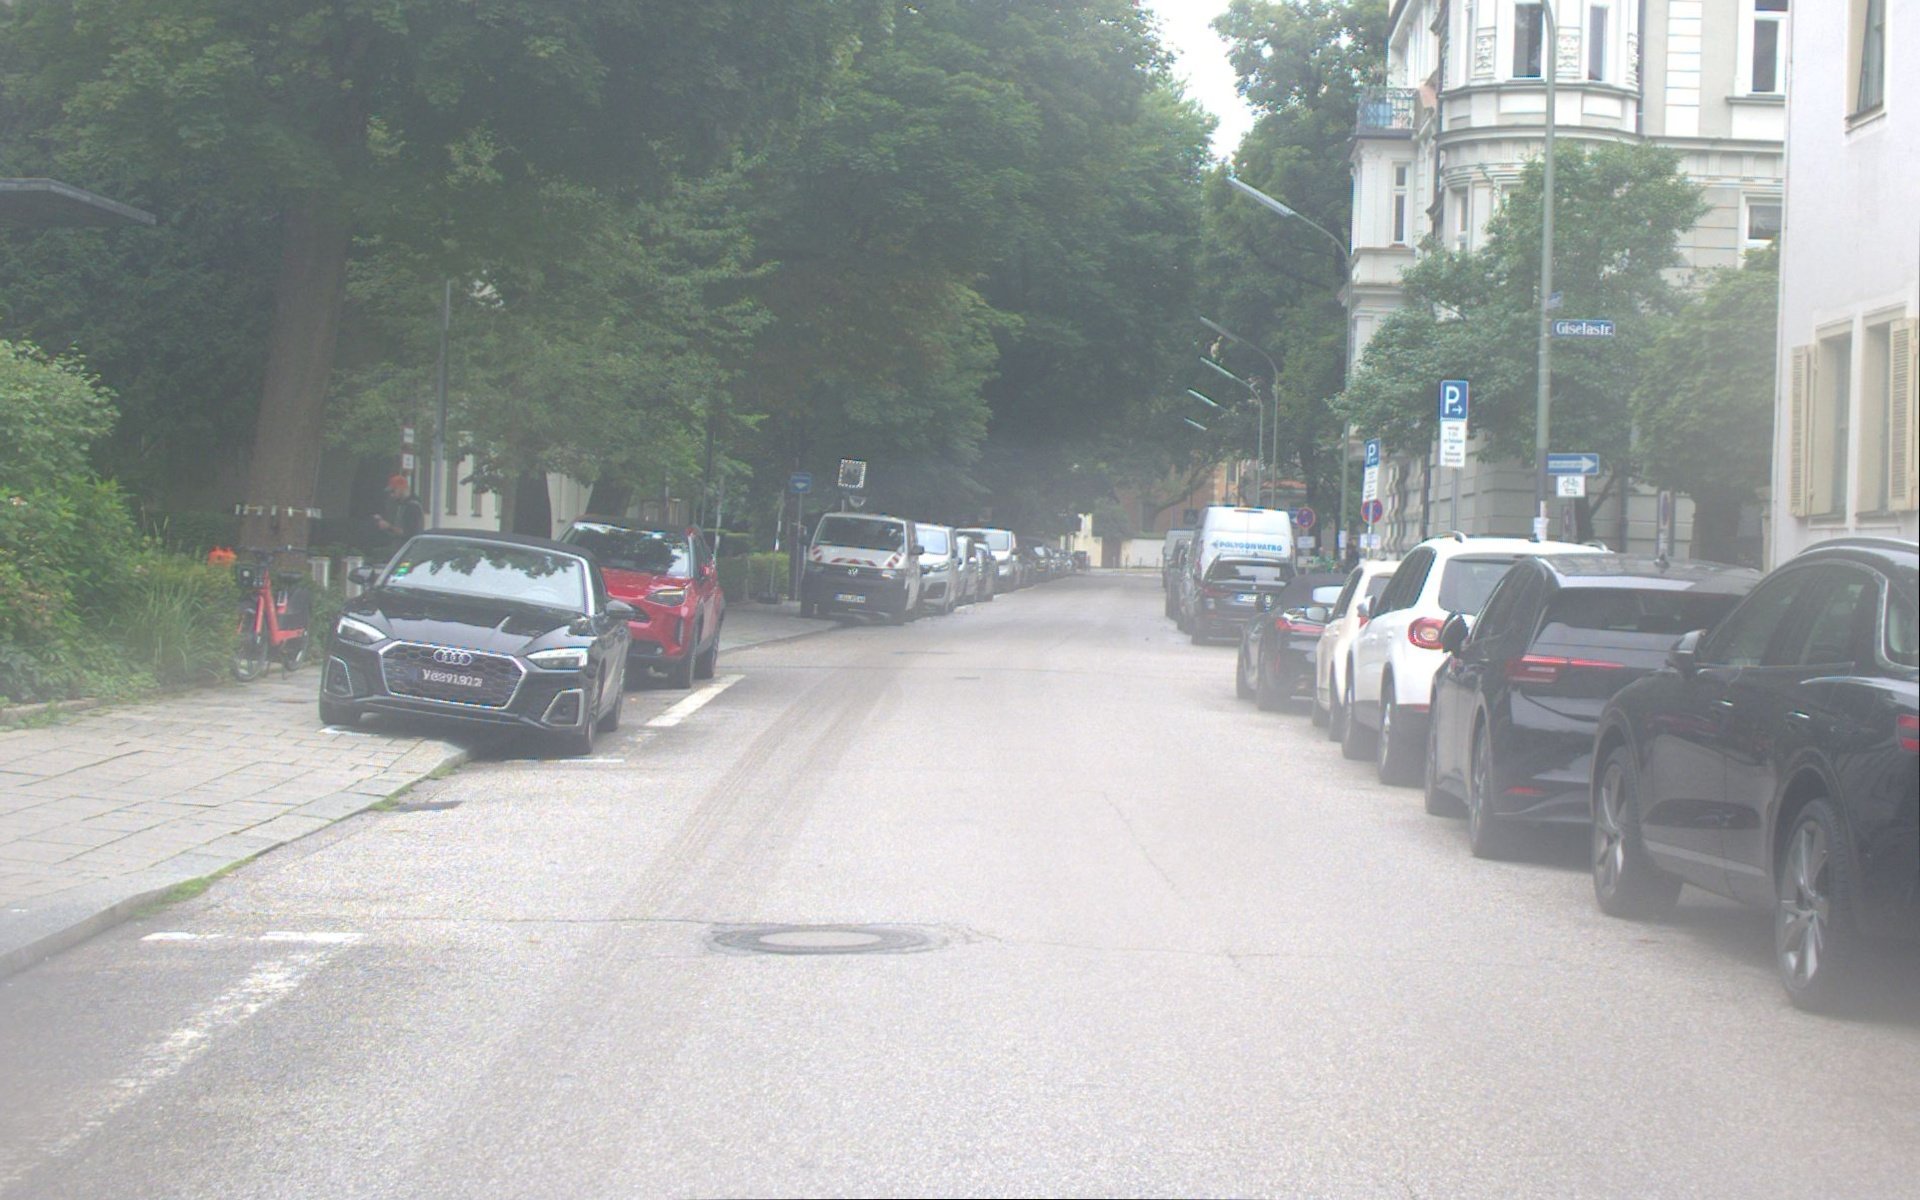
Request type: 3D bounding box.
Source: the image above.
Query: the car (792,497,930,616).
[{"bbox_3d":[-1.747,-0.802,62.574,2.247,1.950,5.454,3,1,0],"label":"car"}]

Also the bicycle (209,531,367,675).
[{"bbox_3d":[-5.531,0.010,28.395,0.649,1.126,2.047,2,1,7],"label":"bicycle"}]

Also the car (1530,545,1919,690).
[{"bbox_3d":[9.586,0.204,41.884,4.906,1.526,1.913,2,3,0],"label":"car"}]

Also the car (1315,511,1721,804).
[{"bbox_3d":[3.730,0.316,23.799,1.993,1.701,4.534,4,1,0],"label":"car"}]

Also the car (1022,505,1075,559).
[{"bbox_3d":[3.765,-2.888,147.116,2.047,2.147,4.314,3,1,0],"label":"car"}]

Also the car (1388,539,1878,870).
[{"bbox_3d":[3.460,0.455,18.500,1.838,1.526,4.415,1,1,1],"label":"car"}]

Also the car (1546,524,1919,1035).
[{"bbox_3d":[3.685,0.520,13.060,1.860,1.571,4.900,1,1,-2],"label":"car"}]

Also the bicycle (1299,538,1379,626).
[{"bbox_3d":[6.793,-0.330,61.775,0.707,1.510,2.039,2,1,-14],"label":"bicycle"}]

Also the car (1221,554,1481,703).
[{"bbox_3d":[3.698,0.223,33.301,2.000,1.314,4.595,0,1,0],"label":"car"}]

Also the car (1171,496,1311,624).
[{"bbox_3d":[5.043,-0.716,62.357,2.203,2.201,4.855,1,1,1],"label":"car"}]

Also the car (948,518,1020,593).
[{"bbox_3d":[0.759,-1.384,107.227,2.002,2.179,4.696,3,1,2],"label":"car"}]

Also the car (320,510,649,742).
[{"bbox_3d":[-3.300,0.124,24.712,1.807,1.397,4.925,3,1,-2],"label":"car"}]

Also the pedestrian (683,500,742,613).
[{"bbox_3d":[-3.483,-0.616,48.394,0.713,1.543,0.753,4,1,-3],"label":"pedestrian"}]

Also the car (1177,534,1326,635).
[{"bbox_3d":[4.682,-0.262,55.408,2.273,1.541,4.586,1,1,5],"label":"car"}]

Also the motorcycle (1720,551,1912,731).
[{"bbox_3d":[7.309,0.315,29.504,0.857,1.428,2.707,2,1,-1],"label":"motorcycle"}]

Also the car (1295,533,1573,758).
[{"bbox_3d":[3.843,0.322,28.421,1.771,1.540,3.711,7,1,2],"label":"car"}]

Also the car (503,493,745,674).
[{"bbox_3d":[-3.286,-0.190,34.446,1.887,1.585,4.528,3,1,0],"label":"car"}]

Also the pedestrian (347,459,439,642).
[{"bbox_3d":[-5.896,-0.518,35.801,0.712,1.846,0.797,3,1,1],"label":"pedestrian"}]

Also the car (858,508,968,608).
[{"bbox_3d":[-0.986,-0.920,74.271,2.183,1.950,5.167,3,1,0],"label":"car"}]
